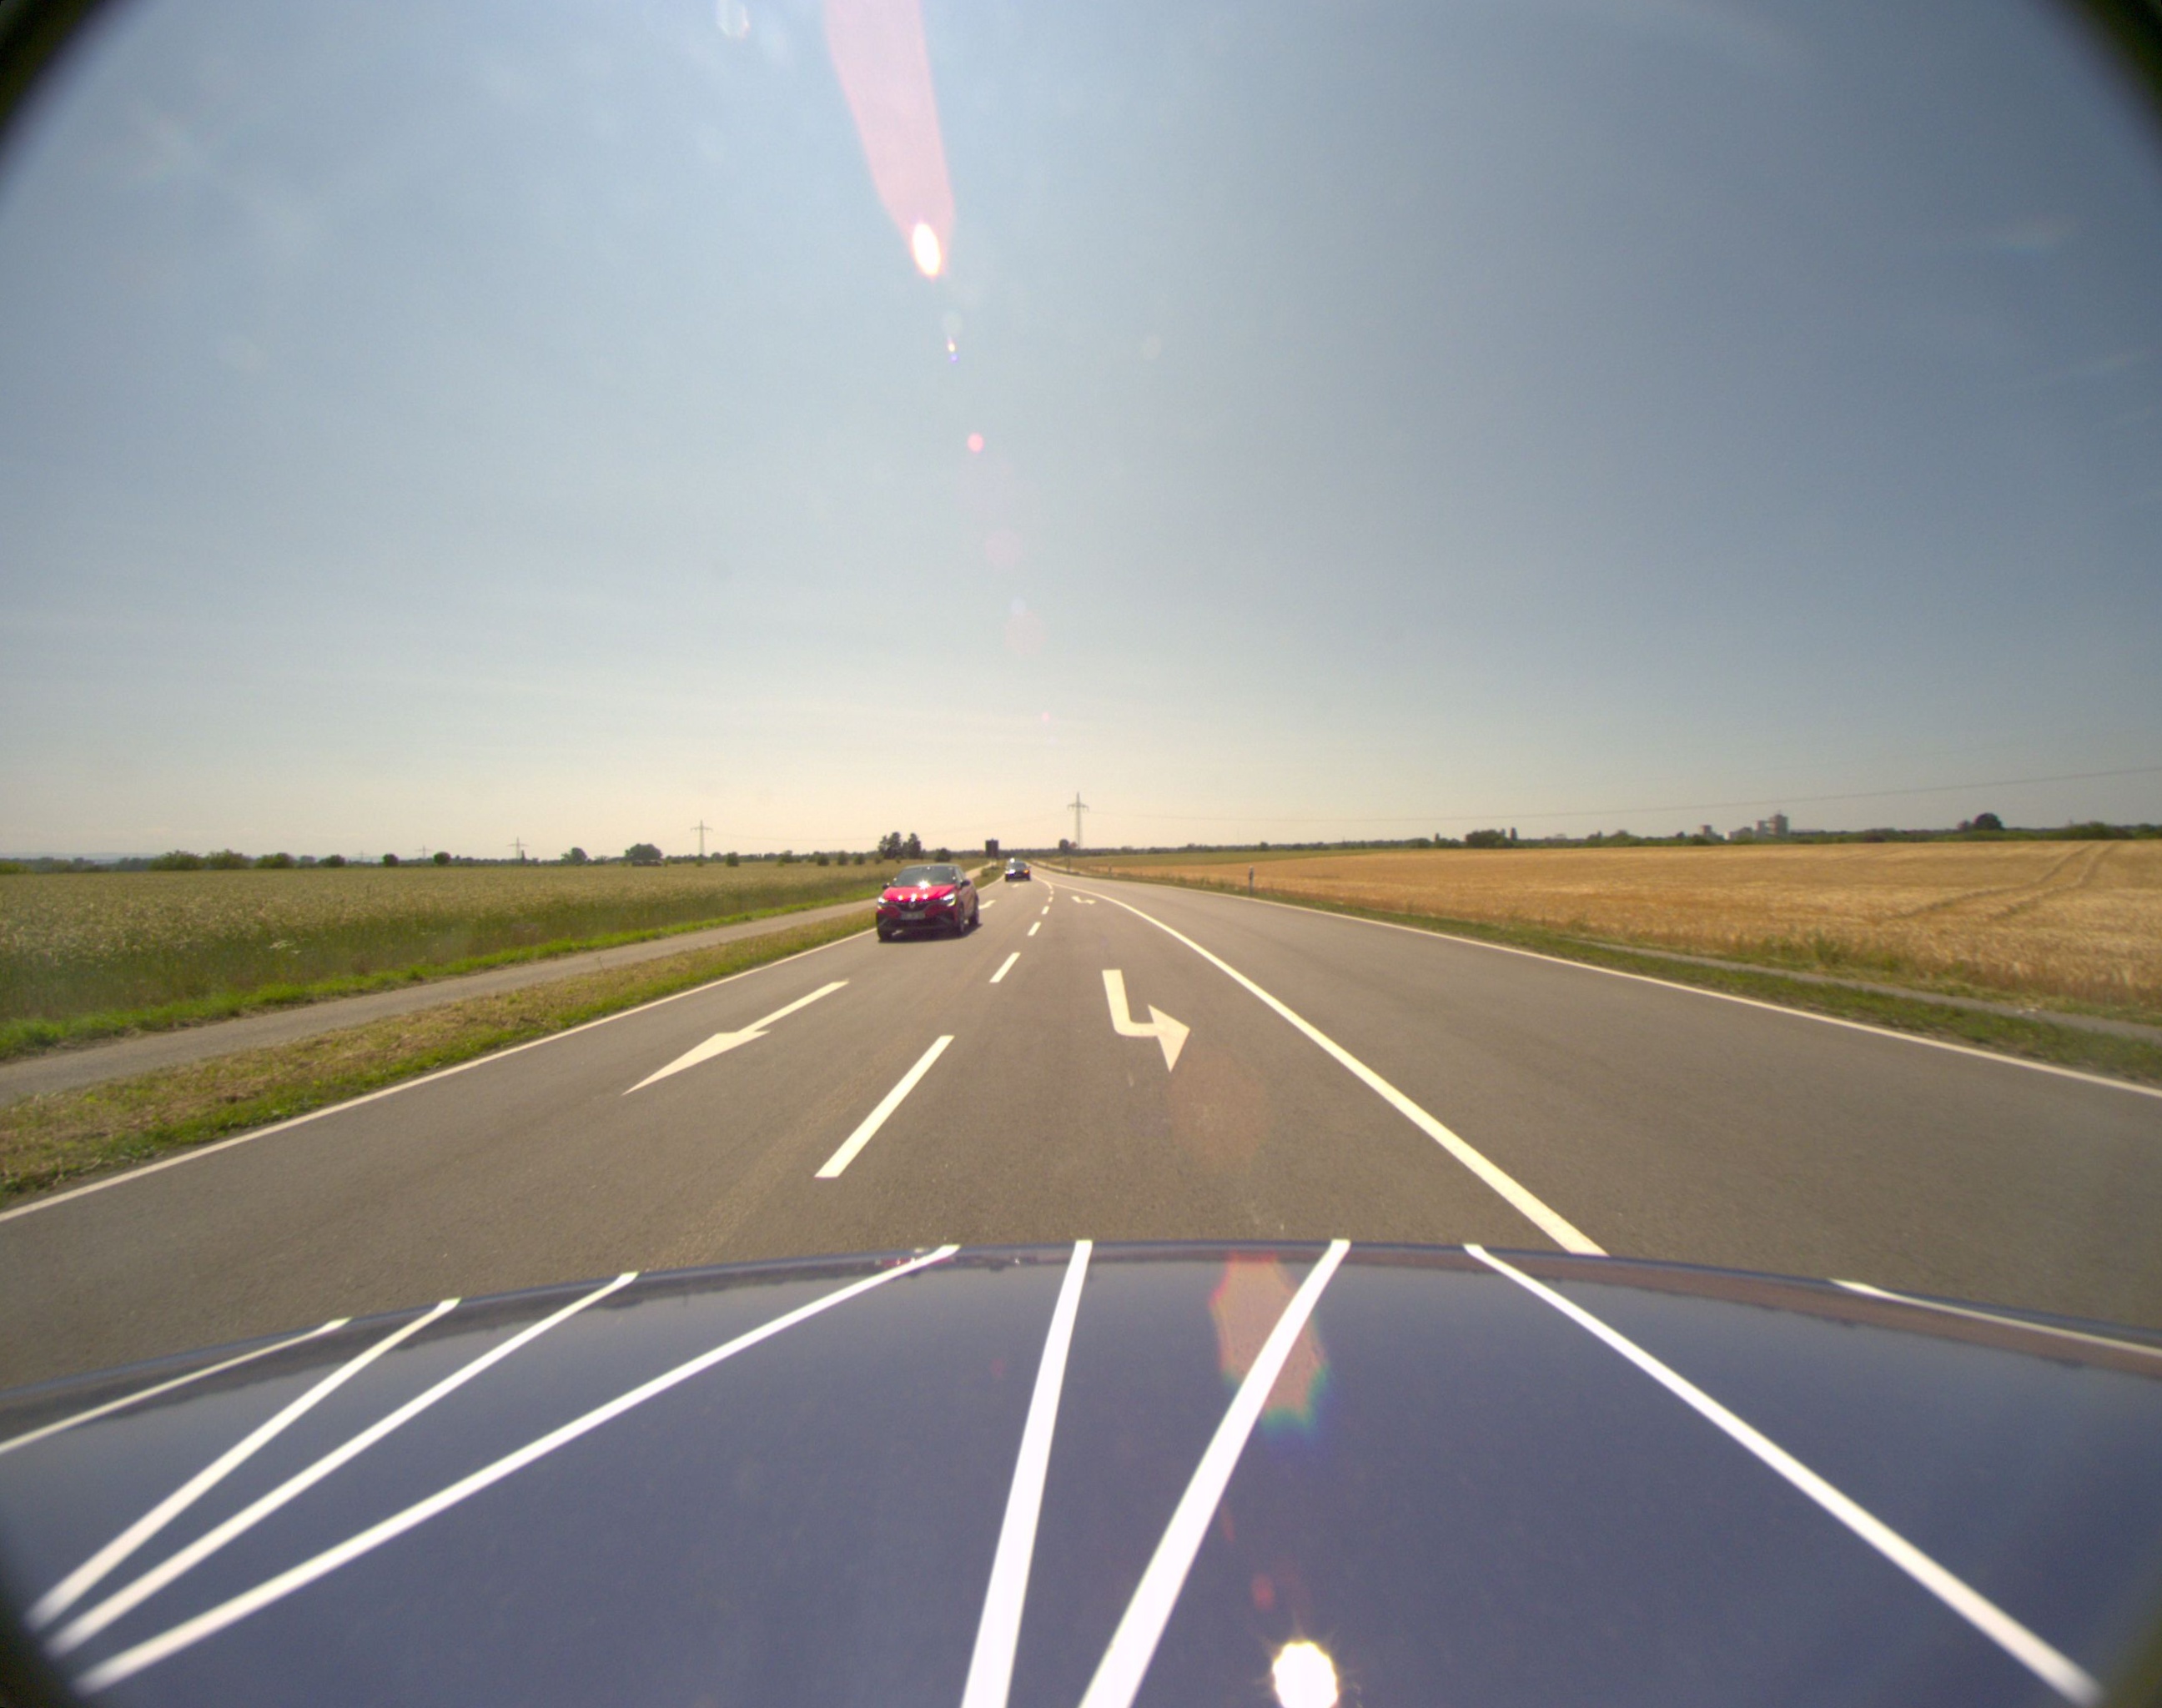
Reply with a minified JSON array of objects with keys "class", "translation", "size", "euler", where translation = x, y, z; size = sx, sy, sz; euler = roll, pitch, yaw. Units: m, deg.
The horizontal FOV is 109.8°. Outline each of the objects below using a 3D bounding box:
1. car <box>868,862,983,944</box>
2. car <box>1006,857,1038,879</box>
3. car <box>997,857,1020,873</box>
[{"class":"car","translation":[-3.489,1.032,17.883],"size":[1.827,1.543,4.448],"euler":[-3,0,-1]},{"class":"car","translation":[-4.487,1.051,58.321],"size":[2.190,1.458,5.012],"euler":[-2,0,-3]},{"class":"car","translation":[-7.675,1.104,79.570],"size":[2.191,1.458,5.010],"euler":[-3,0,-7]}]
